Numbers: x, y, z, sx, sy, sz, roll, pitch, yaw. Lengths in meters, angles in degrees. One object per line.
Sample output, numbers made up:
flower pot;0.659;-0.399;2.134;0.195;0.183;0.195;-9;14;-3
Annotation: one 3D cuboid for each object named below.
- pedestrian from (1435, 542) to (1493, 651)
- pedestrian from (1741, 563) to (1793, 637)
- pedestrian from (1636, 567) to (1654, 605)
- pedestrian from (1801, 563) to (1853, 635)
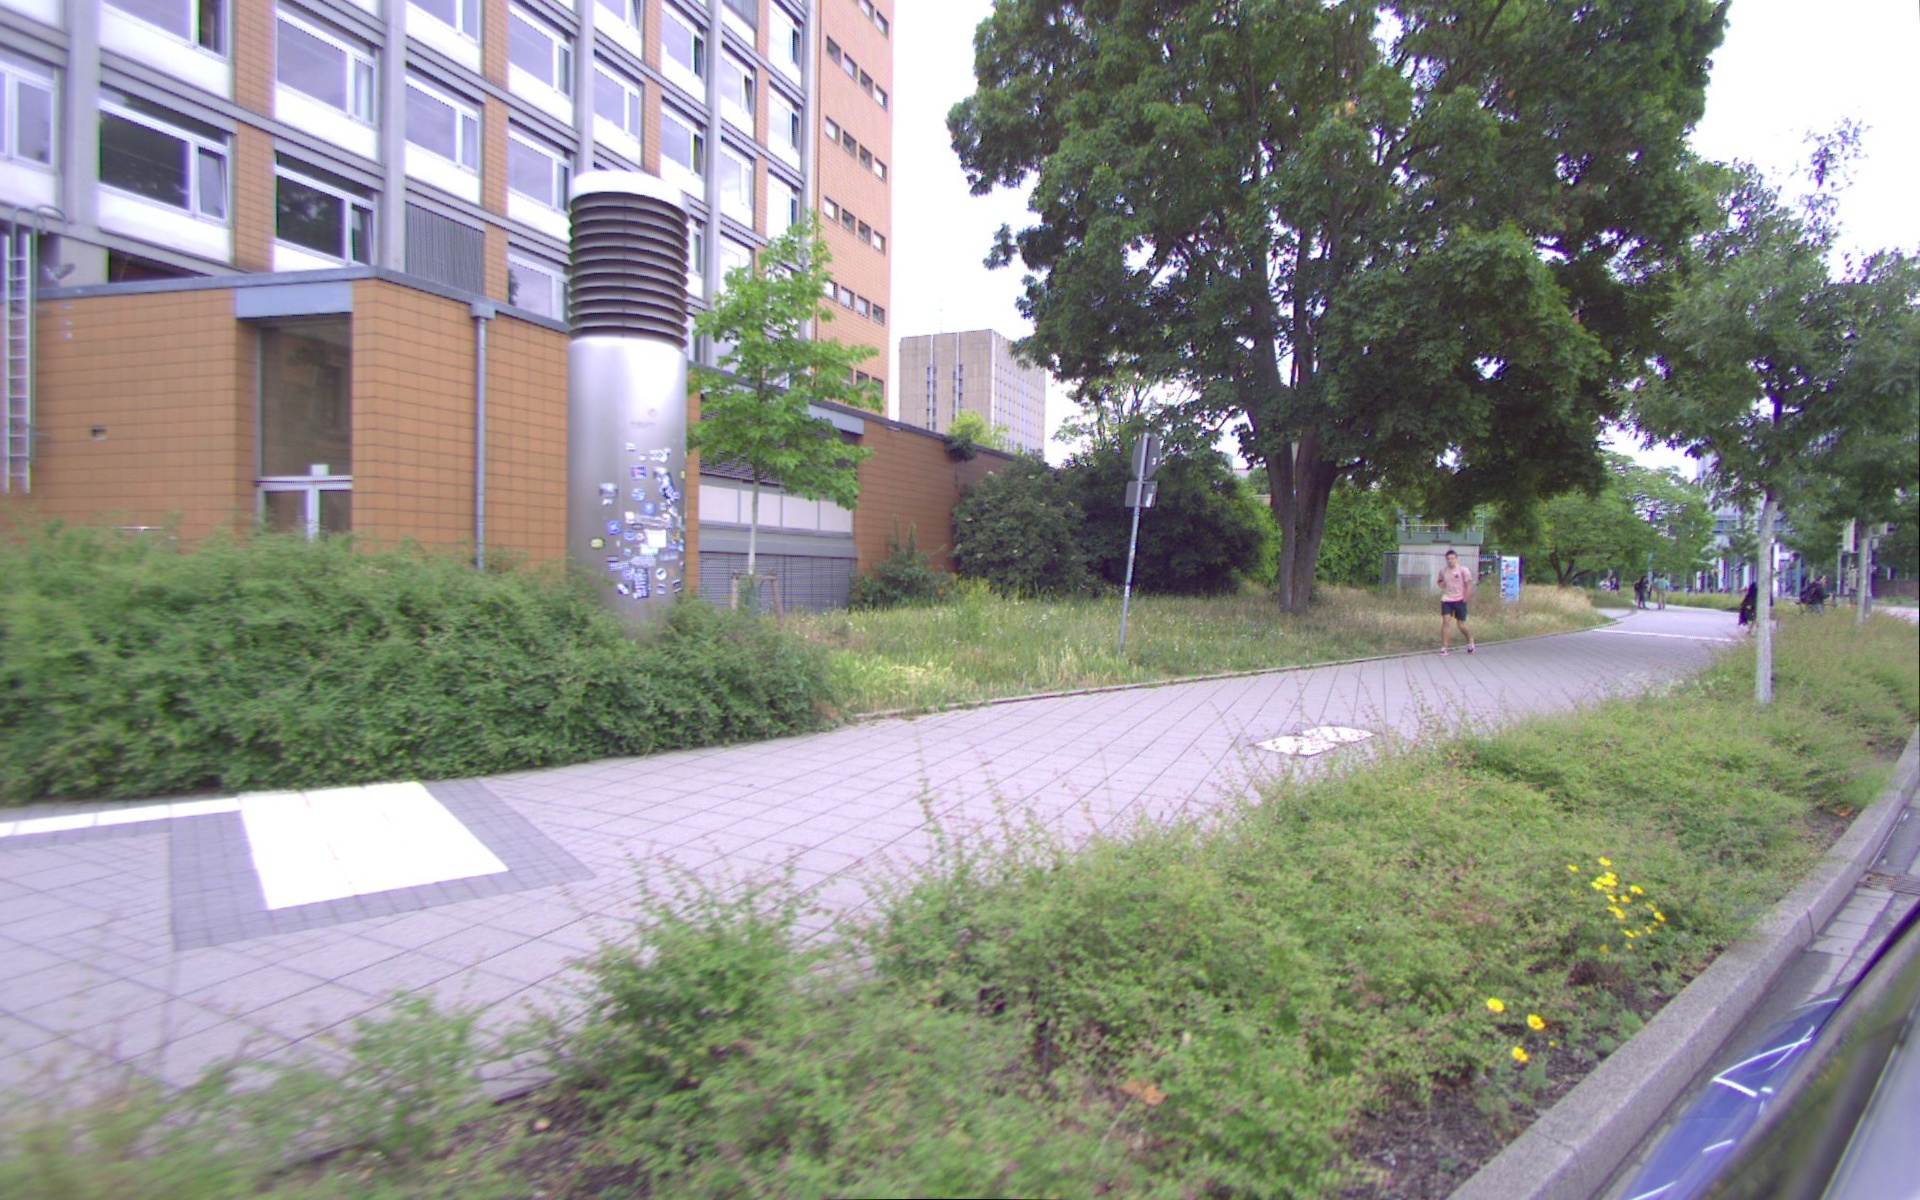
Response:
pedestrian;8.715;-0.070;17.503;0.587;1.822;0.630;0;4;-41
pedestrian;20.690;-0.002;25.962;0.709;1.822;0.597;3;3;6
pedestrian;33.777;-0.678;49.918;0.593;1.822;0.514;4;4;30
pedestrian;22.924;-0.039;26.773;0.709;1.822;0.597;3;3;6
